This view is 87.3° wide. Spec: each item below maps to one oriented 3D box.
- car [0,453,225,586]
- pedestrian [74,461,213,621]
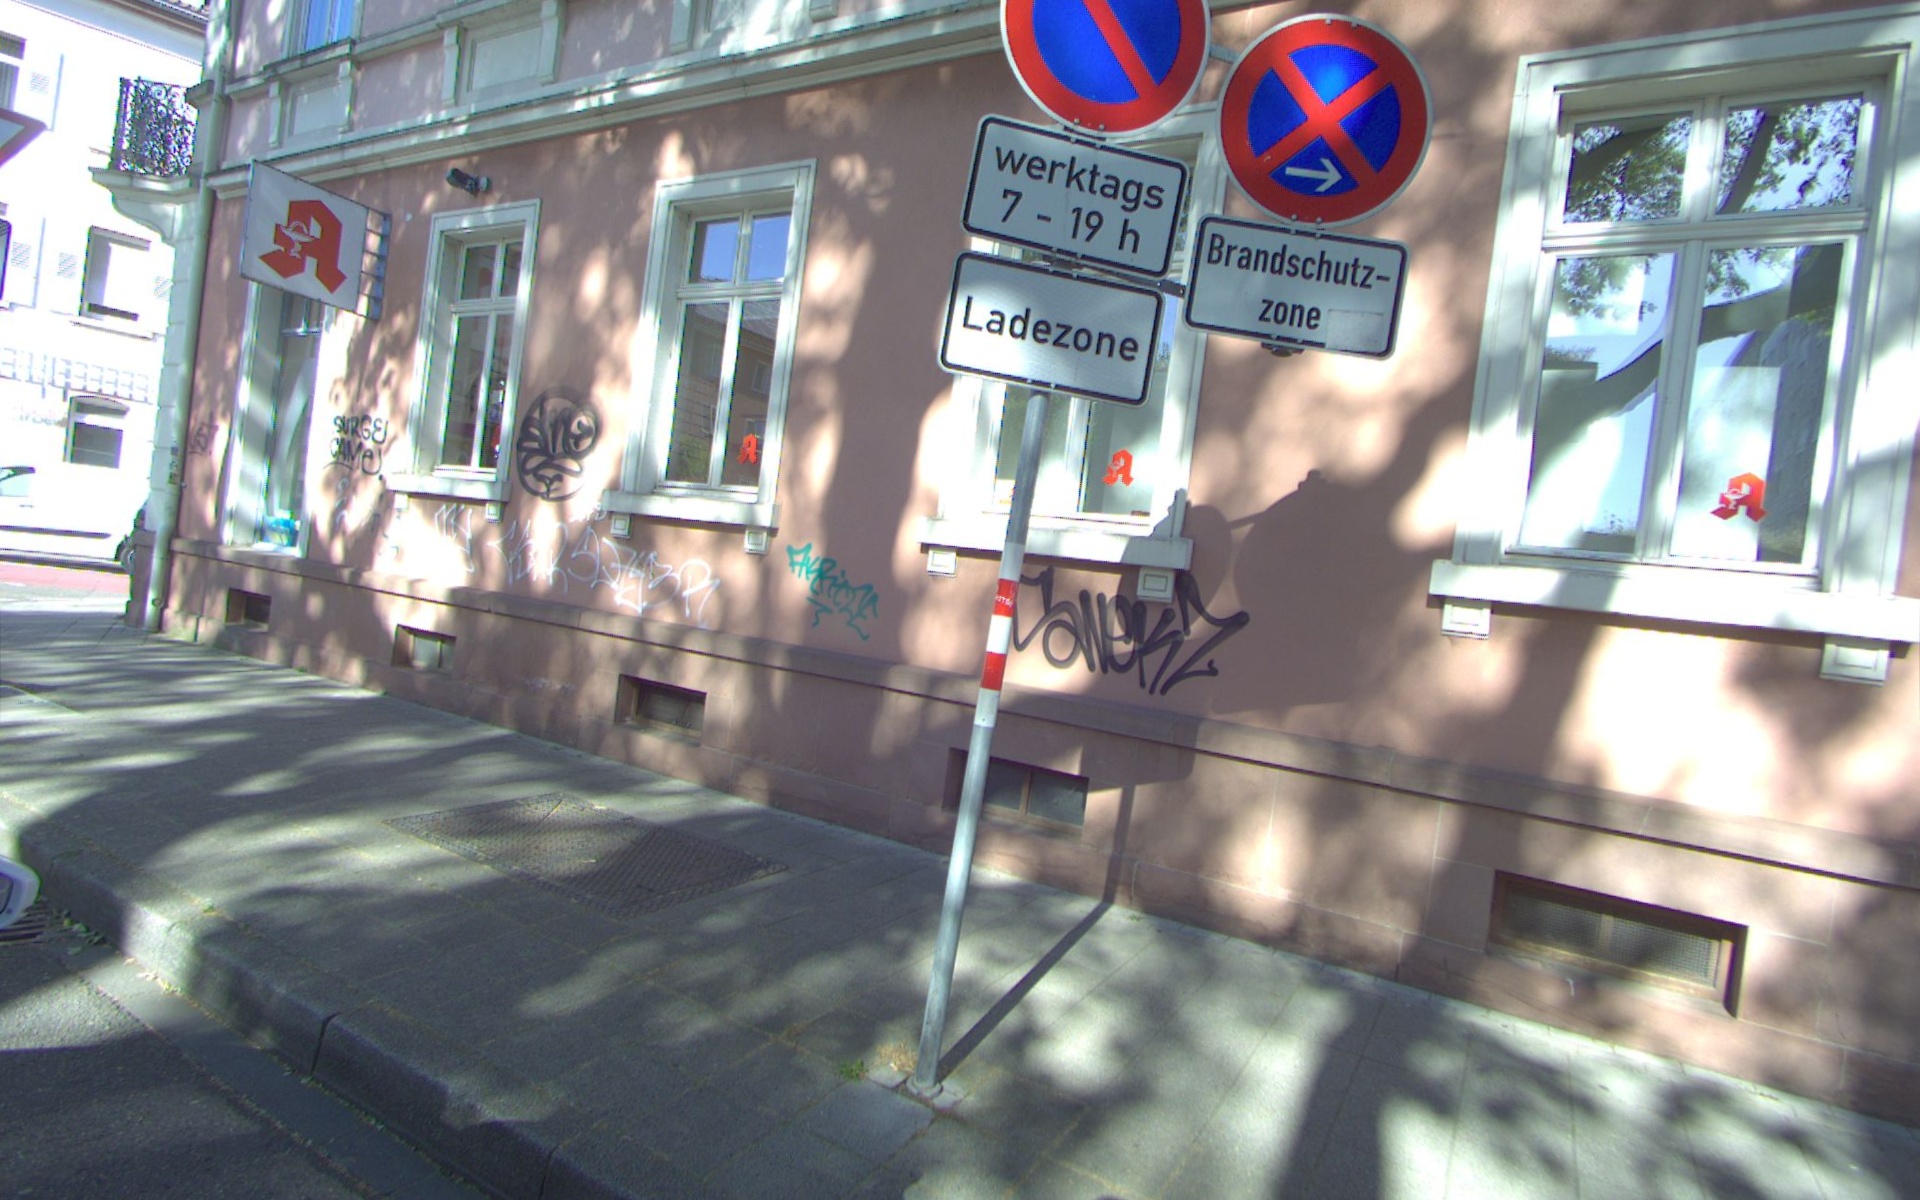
[{"bbox_3d":[-17.088,-1.603,19.016,4.983,1.969,2.030,8,-1,-37],"label":"car"},{"bbox_3d":[-8.547,-0.615,10.556,0.831,1.596,0.844,4,4,25],"label":"pedestrian"}]
